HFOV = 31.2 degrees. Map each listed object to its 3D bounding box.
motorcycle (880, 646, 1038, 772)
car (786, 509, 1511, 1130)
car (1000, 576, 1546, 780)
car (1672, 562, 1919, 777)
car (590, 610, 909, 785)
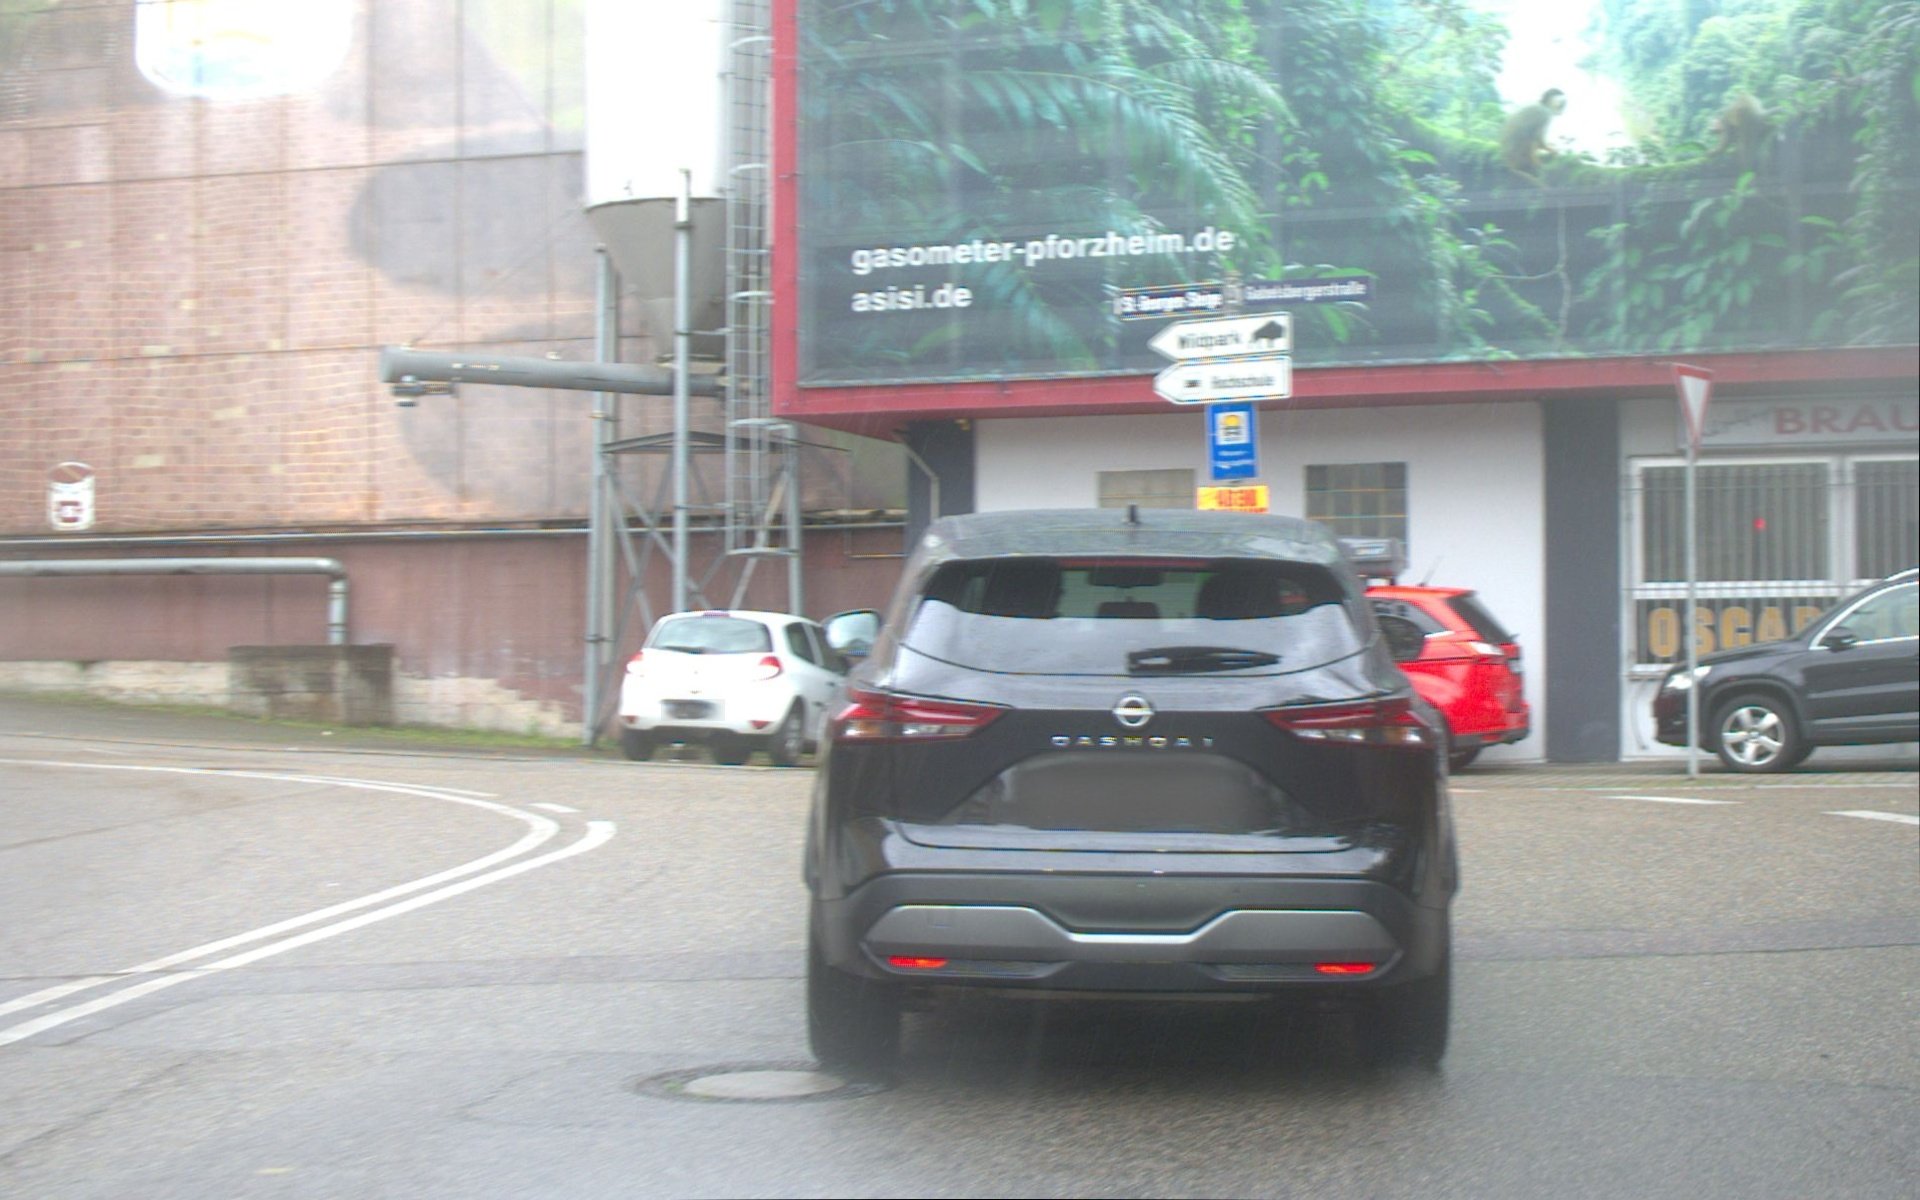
[{"bbox_3d":[-0.003,1.020,32.220,1.419,1.157,0.452,0,-2,8],"label":"motorcycle"},{"bbox_3d":[0.582,0.518,10.927,1.881,1.588,3.921,0,2,3],"label":"car"},{"bbox_3d":[2.801,0.673,30.608,4.482,1.706,1.930,0,-1,20],"label":"car"},{"bbox_3d":[8.033,0.549,28.262,3.991,1.706,1.930,-1,-1,20],"label":"car"},{"bbox_3d":[-2.001,0.908,33.909,1.871,1.528,3.989,1,1,17],"label":"car"}]
